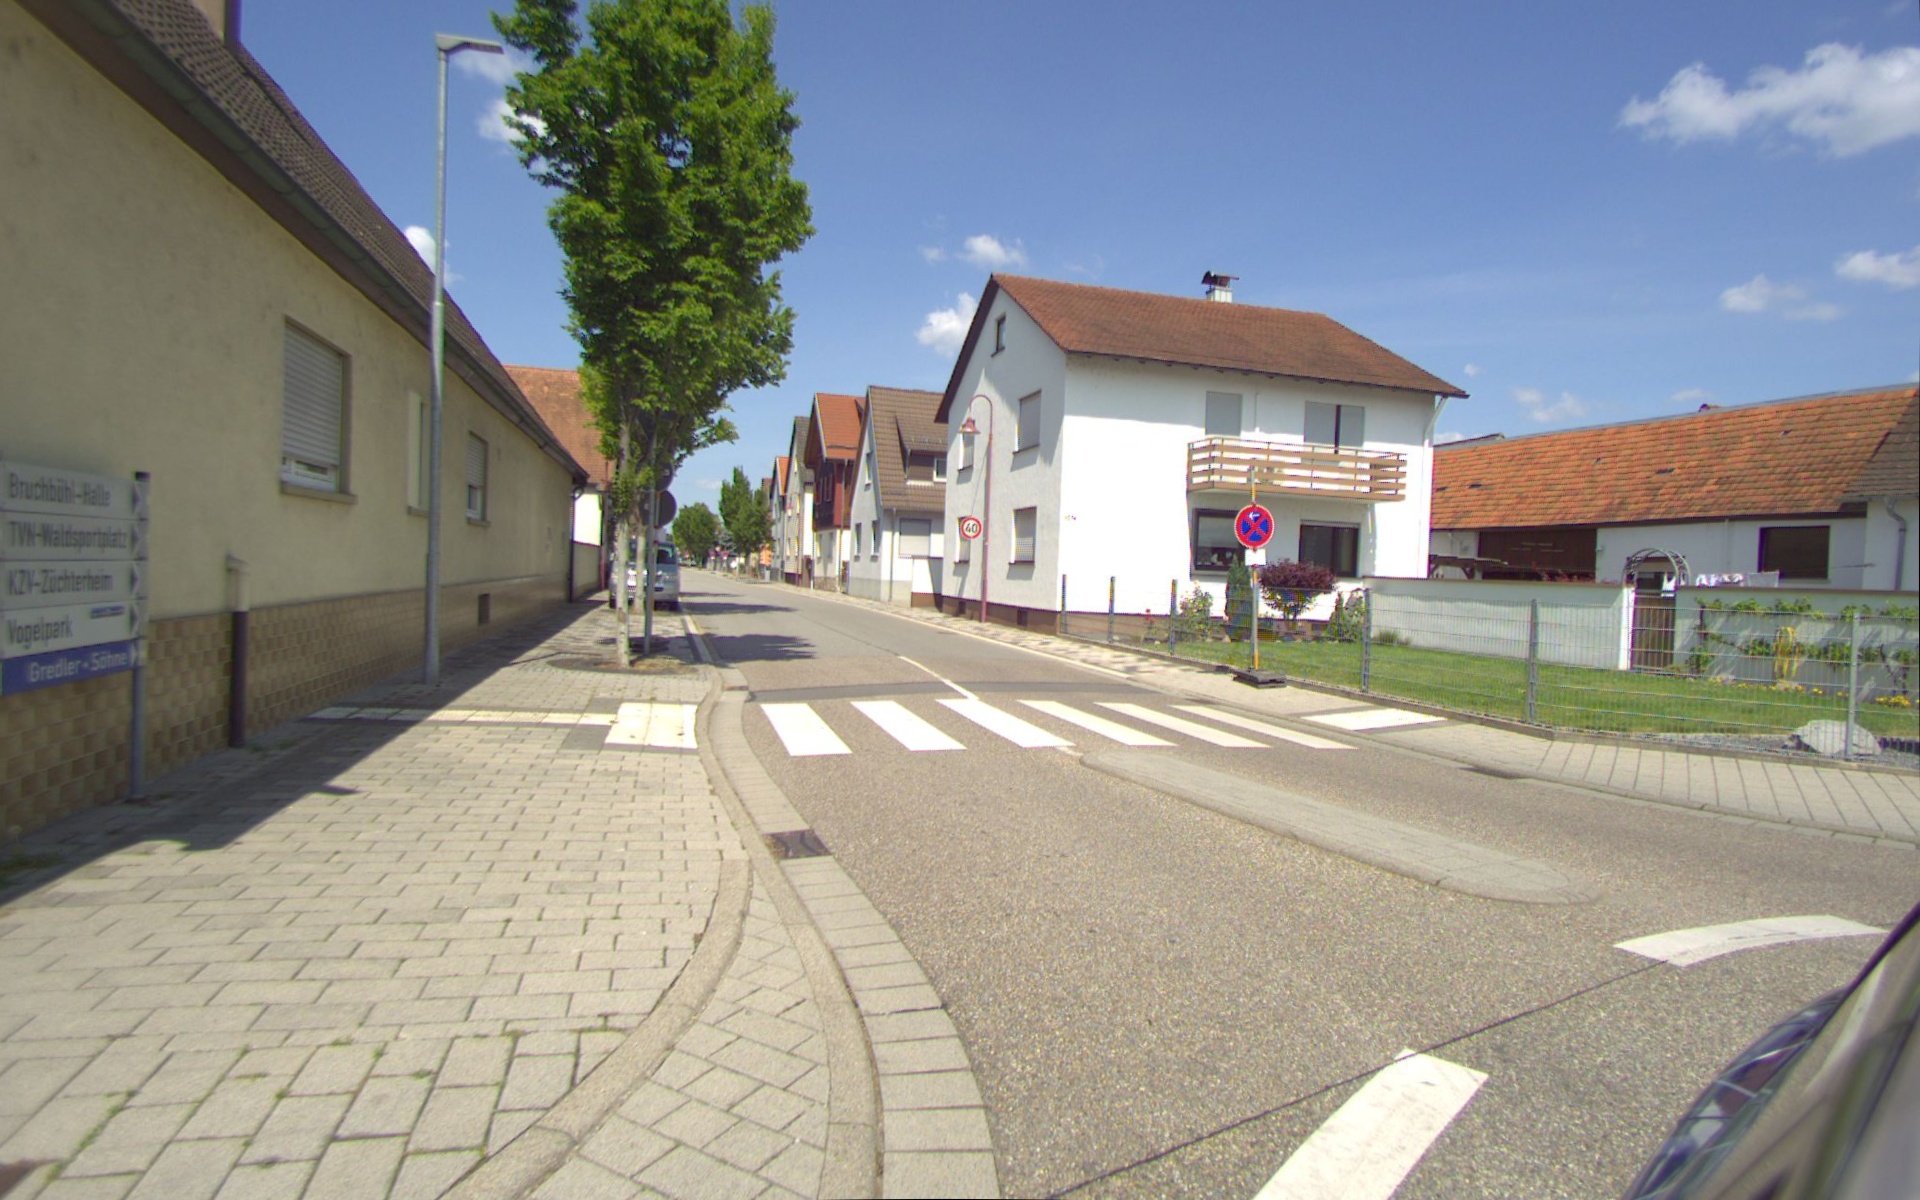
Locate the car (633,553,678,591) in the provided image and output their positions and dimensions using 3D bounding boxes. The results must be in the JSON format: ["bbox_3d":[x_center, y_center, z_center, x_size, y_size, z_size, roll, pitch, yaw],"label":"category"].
[{"bbox_3d":[-12.544,-1.178,41.687,1.651,1.398,3.569,3,2,-17],"label":"car"}]

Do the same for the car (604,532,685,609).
[{"bbox_3d":[-9.005,-0.865,28.970,1.958,1.962,4.489,3,2,-17],"label":"car"}]
